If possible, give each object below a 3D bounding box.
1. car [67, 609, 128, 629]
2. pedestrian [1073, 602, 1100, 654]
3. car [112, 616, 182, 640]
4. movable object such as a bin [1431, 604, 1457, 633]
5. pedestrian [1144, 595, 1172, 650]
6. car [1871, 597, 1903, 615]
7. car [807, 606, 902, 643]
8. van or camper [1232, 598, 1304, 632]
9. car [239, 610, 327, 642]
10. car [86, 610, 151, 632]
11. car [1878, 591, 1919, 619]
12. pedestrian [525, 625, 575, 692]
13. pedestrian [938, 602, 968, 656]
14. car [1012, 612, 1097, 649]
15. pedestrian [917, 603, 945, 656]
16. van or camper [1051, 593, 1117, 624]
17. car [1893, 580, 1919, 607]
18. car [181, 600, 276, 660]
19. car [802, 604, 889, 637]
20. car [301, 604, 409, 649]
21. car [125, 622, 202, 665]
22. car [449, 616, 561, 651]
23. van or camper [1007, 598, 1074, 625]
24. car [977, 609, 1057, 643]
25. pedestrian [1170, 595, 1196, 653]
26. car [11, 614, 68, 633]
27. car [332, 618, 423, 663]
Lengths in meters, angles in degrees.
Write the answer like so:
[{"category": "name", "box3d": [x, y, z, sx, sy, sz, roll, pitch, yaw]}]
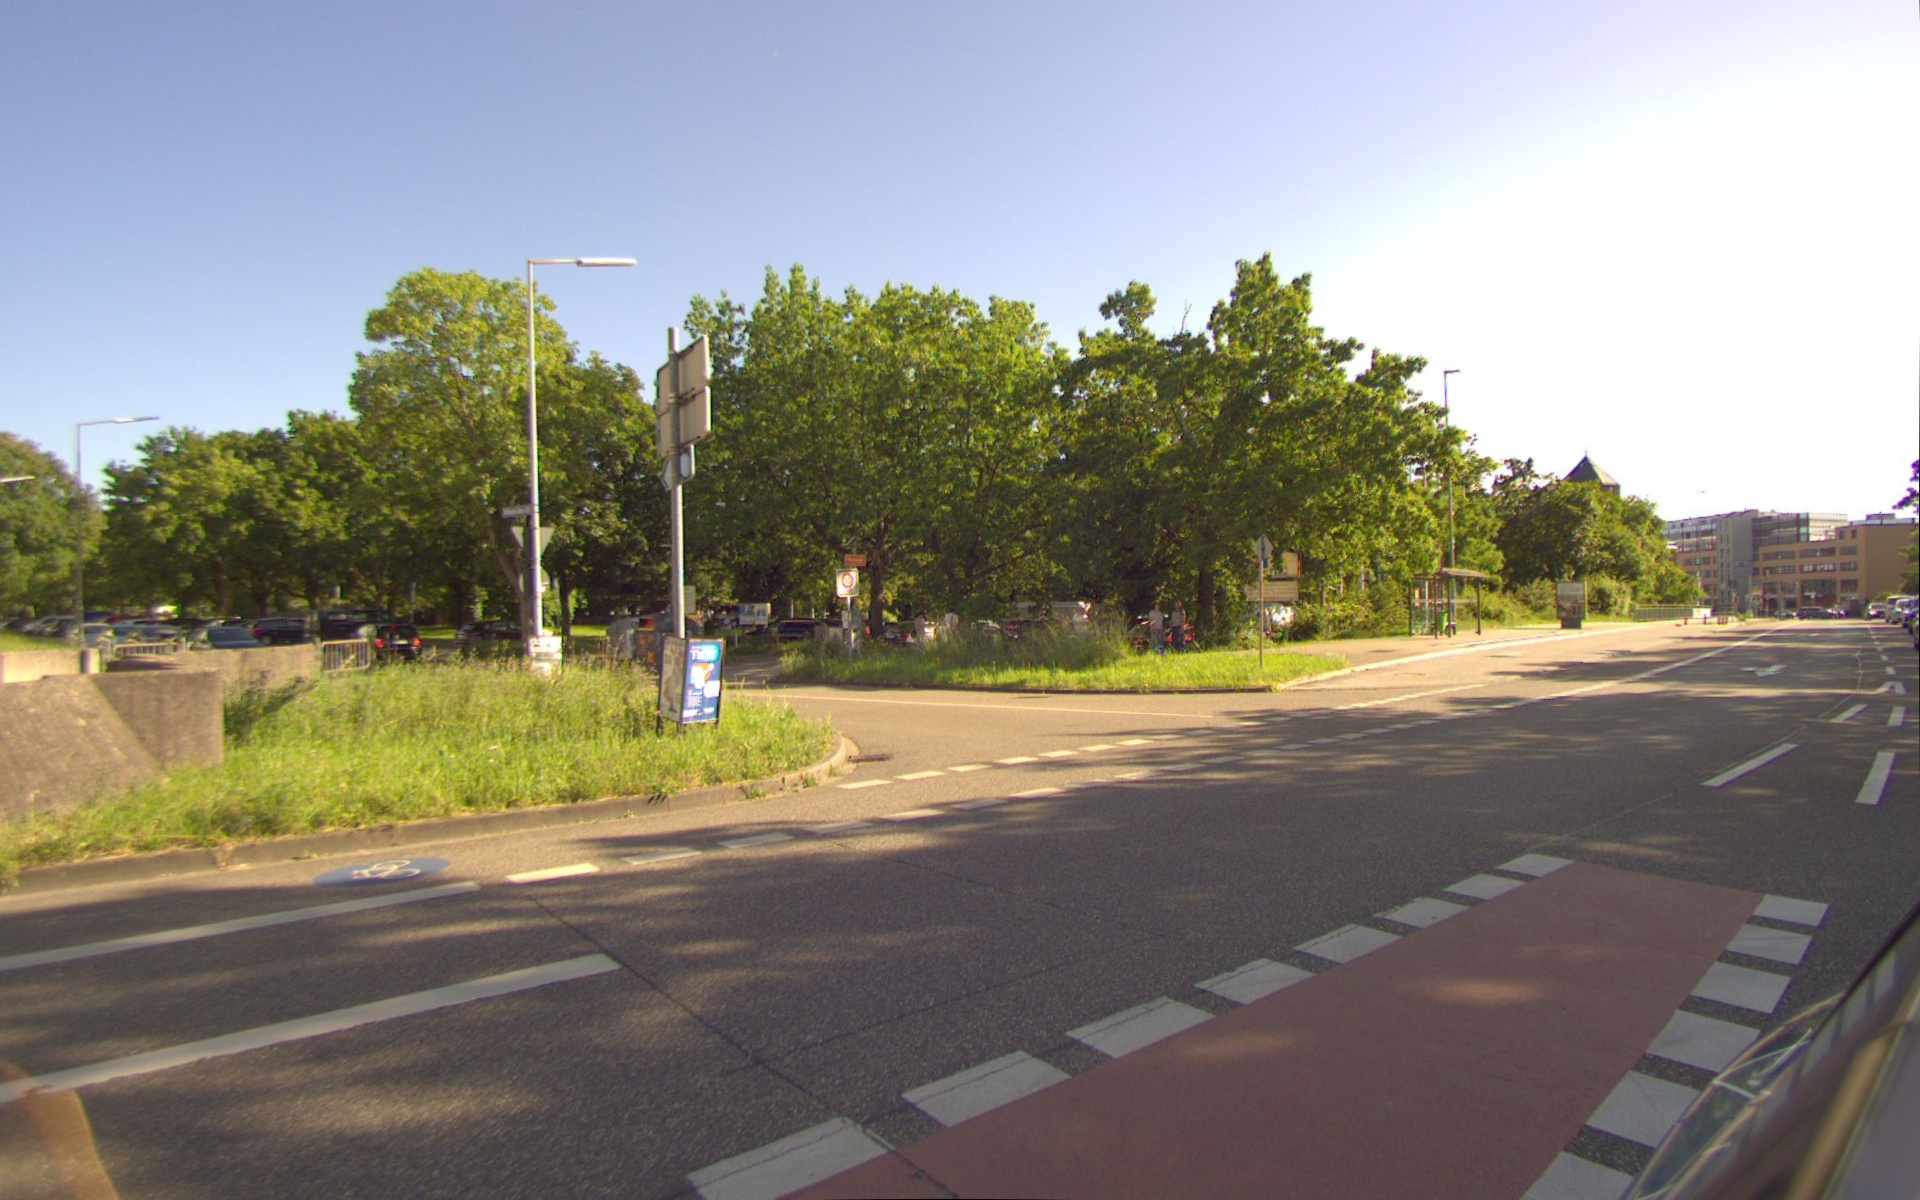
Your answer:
[{"category": "car", "box3d": [-78.445, 1.734, 92.088, 1.990, 1.677, 3.943, -3, -1, 40]}, {"category": "pedestrian", "box3d": [3.832, 0.829, 30.542, 0.603, 1.538, 0.527, 0, -2, -45]}, {"category": "car", "box3d": [-63.210, 2.146, 78.738, 1.990, 1.677, 3.943, -3, -1, 40]}, {"category": "movable object such as a bin", "box3d": [17.688, 0.688, 36.998, 0.726, 1.043, 0.569, -2, -1, 42]}, {"category": "pedestrian", "box3d": [5.979, 0.675, 30.498, 0.621, 1.655, 0.543, -2, -1, 43]}, {"category": "car", "box3d": [78.079, 0.496, 85.276, 1.823, 1.492, 3.940, -2, -1, 41]}, {"category": "car", "box3d": [-4.151, 0.963, 39.593, 3.567, 1.331, 1.602, -1, 1, 37]}, {"category": "van or camper", "box3d": [18.476, 0.848, 60.545, 2.445, 1.937, 5.254, -1, -1, 38]}, {"category": "car", "box3d": [-39.290, 1.513, 58.785, 1.992, 1.677, 3.938, -3, -1, 43]}, {"category": "car", "box3d": [-70.784, 1.741, 85.170, 1.990, 1.677, 3.943, -3, -1, 40]}, {"category": "car", "box3d": [48.477, 0.251, 51.957, 3.935, 1.423, 1.778, 0, -1, -45]}, {"category": "pedestrian", "box3d": [-9.650, 1.352, 23.832, 0.647, 1.516, 0.898, -2, -1, 34]}, {"category": "pedestrian", "box3d": [-0.223, 0.905, 31.784, 0.701, 1.640, 0.559, -3, -2, 37]}, {"category": "car", "box3d": [4.900, 1.606, 52.006, 1.752, 1.773, 4.699, -4, -5, 45]}, {"category": "pedestrian", "box3d": [-0.927, 0.942, 32.331, 0.595, 1.640, 0.559, -3, -2, 37]}, {"category": "van or camper", "box3d": [8.983, 0.598, 73.029, 2.444, 2.186, 5.257, -1, -1, 36]}, {"category": "car", "box3d": [66.480, -0.445, 70.521, 3.931, 1.569, 1.741, 4, -5, -43]}, {"category": "car", "box3d": [-26.765, 1.079, 36.998, 3.982, 2.039, 1.971, -2, -1, 41]}, {"category": "car", "box3d": [-4.968, 0.890, 43.794, 3.630, 1.290, 1.602, -1, 1, 37]}, {"category": "car", "box3d": [-29.871, 1.276, 50.046, 1.994, 2.099, 4.281, -2, -1, 45]}, {"category": "car", "box3d": [-34.014, 1.854, 43.199, 3.984, 1.683, 1.970, -3, -1, 43]}, {"category": "car", "box3d": [-19.223, 1.404, 42.831, 3.930, 1.314, 1.997, -2, -1, -40]}, {"category": "van or camper", "box3d": [6.028, 0.865, 75.322, 2.445, 1.937, 5.254, -1, -1, 38]}, {"category": "car", "box3d": [3.023, 1.359, 53.098, 3.934, 1.616, 1.995, -2, -1, -44]}, {"category": "pedestrian", "box3d": [6.703, 0.707, 30.436, 0.602, 1.722, 0.404, -2, -1, 42]}, {"category": "car", "box3d": [-90.139, 2.341, 99.142, 1.990, 1.677, 3.943, -3, -1, 40]}, {"category": "car", "box3d": [-21.372, 1.450, 37.086, 3.540, 1.522, 1.658, -1, -1, 37]}]
